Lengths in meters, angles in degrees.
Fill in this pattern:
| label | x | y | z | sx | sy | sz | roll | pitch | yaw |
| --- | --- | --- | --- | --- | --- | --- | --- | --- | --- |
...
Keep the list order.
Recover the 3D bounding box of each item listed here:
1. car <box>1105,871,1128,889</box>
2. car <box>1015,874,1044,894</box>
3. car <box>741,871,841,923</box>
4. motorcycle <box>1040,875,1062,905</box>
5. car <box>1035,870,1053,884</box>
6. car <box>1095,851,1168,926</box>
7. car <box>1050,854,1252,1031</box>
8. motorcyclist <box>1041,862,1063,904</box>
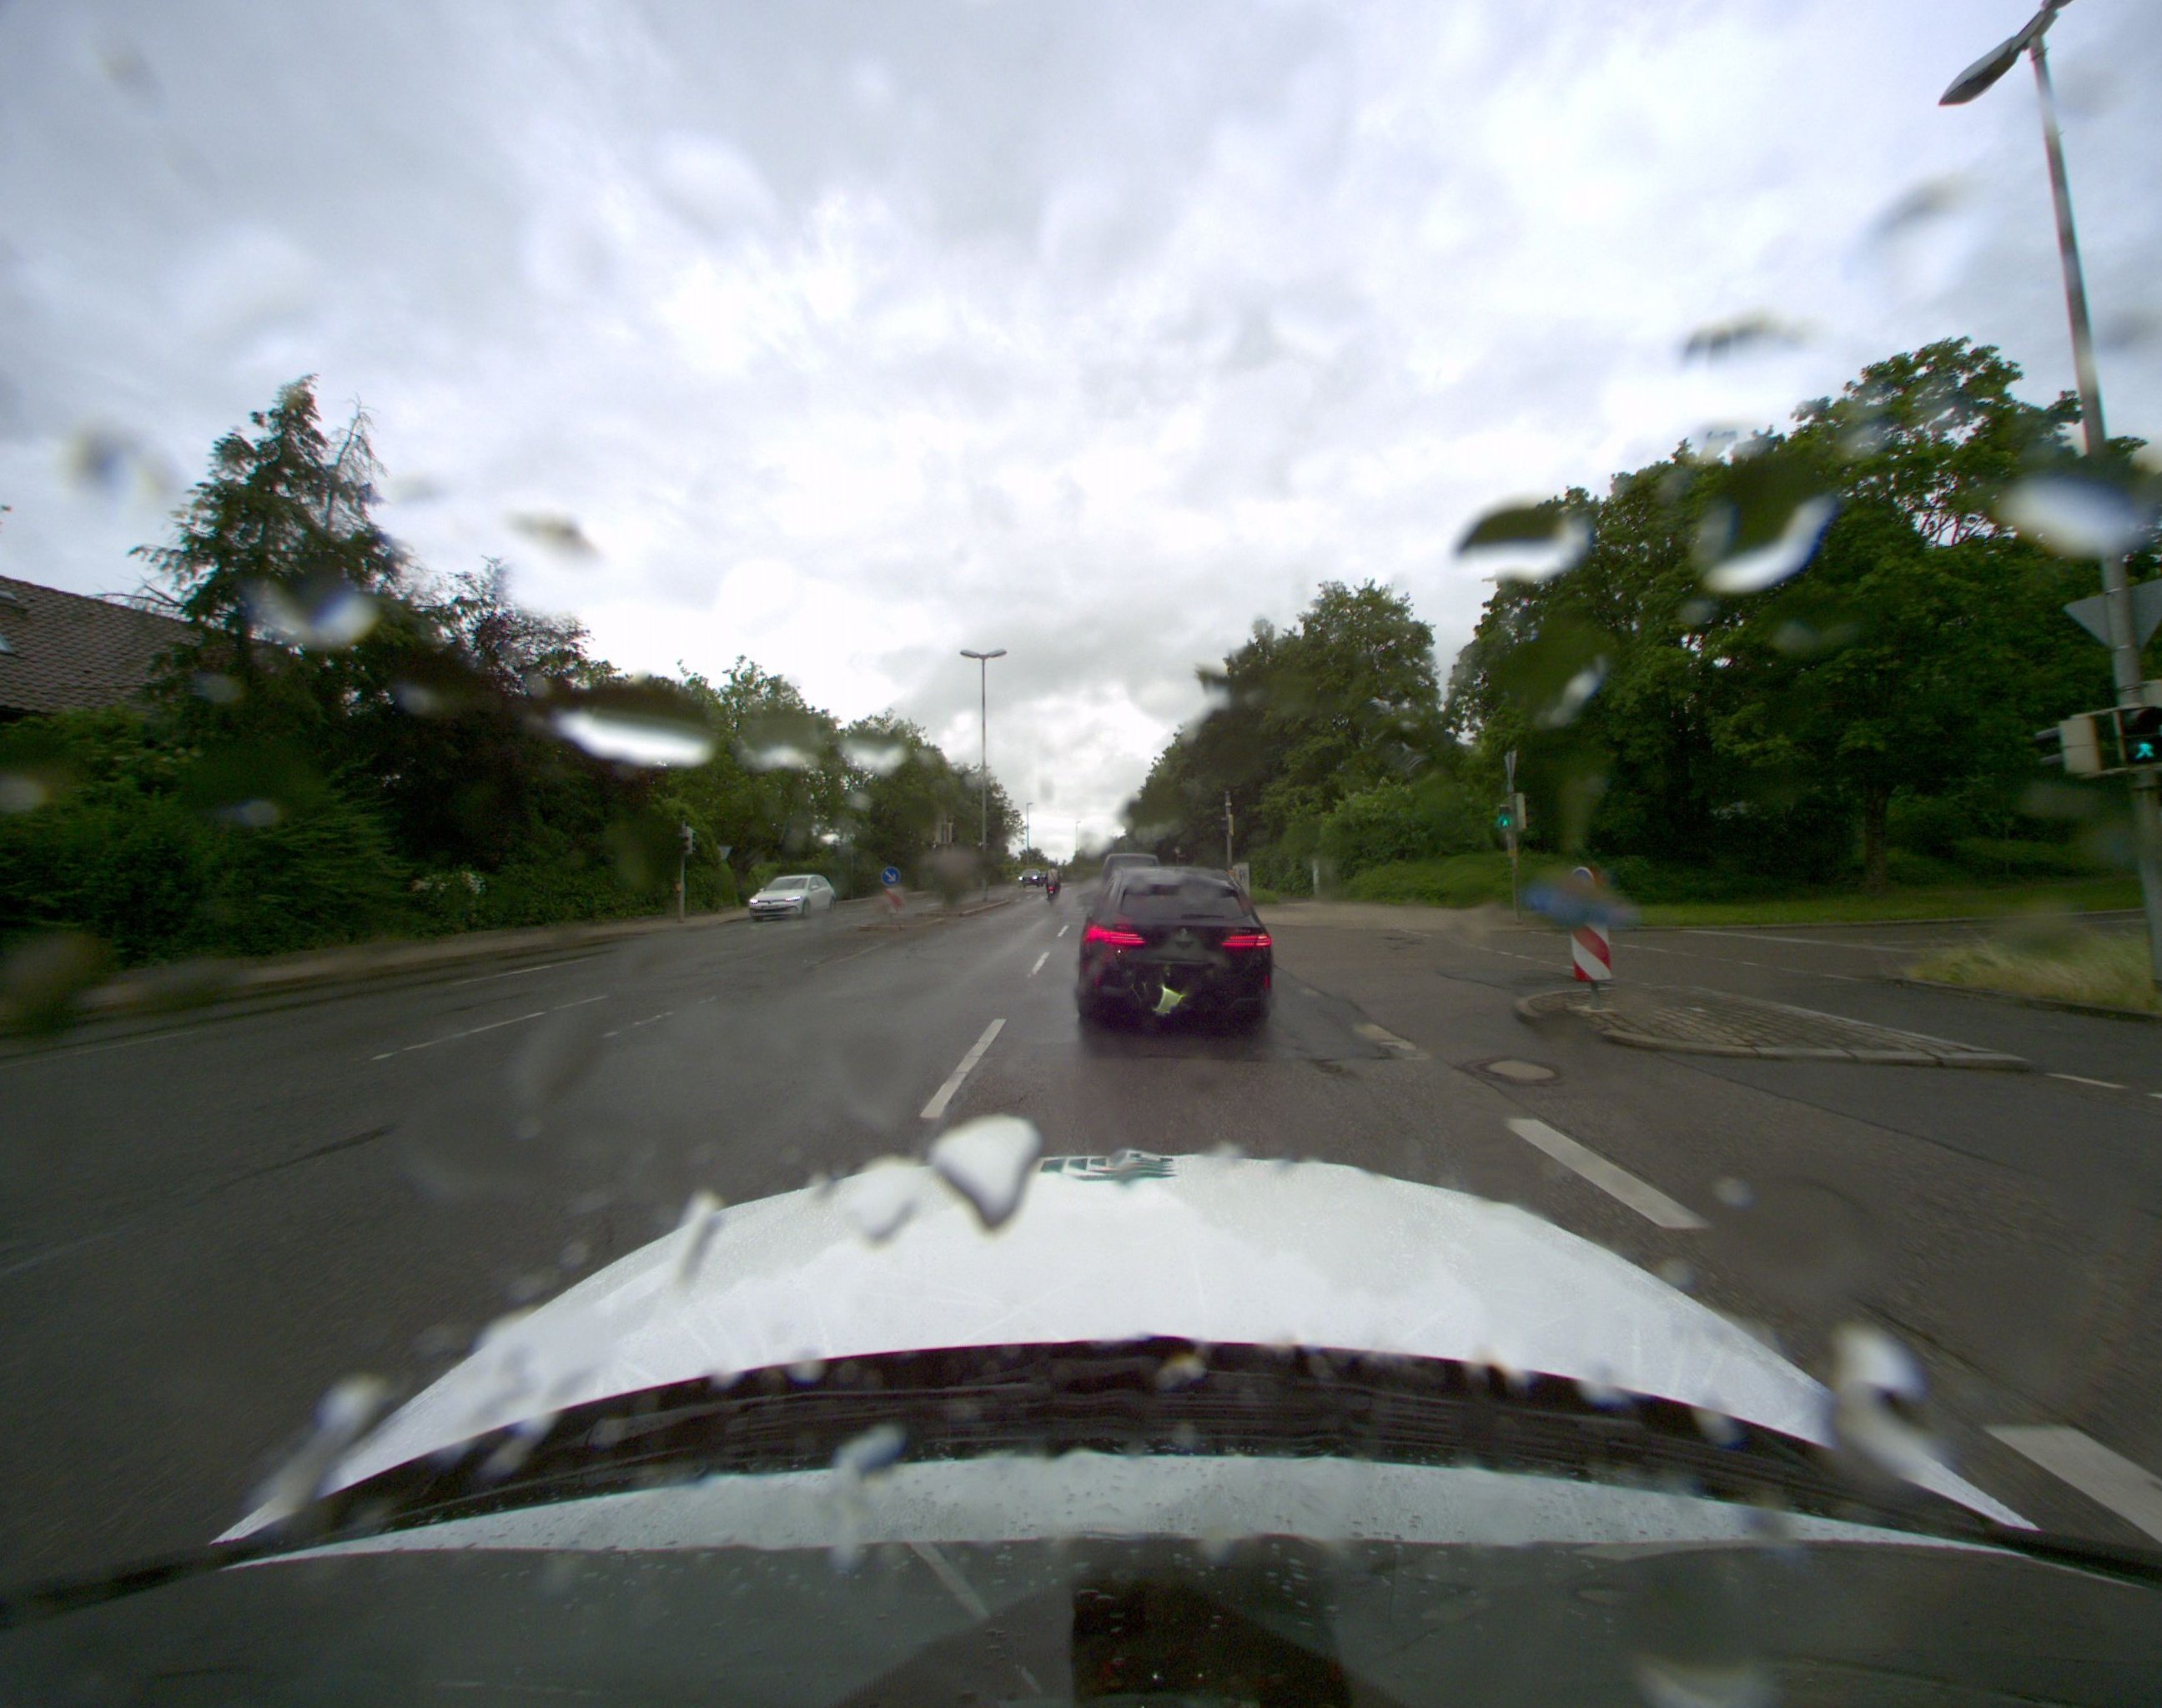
| label | x | y | z | sx | sy | sz | roll | pitch | yaw |
| --- | --- | --- | --- | --- | --- | --- | --- | --- | --- |
| car | 3.152 | 2.265 | 72.079 | 2.006 | 1.415 | 4.490 | 0 | 0 | 3 |
| car | -4.353 | 2.560 | 69.891 | 2.017 | 1.563 | 3.878 | -2 | -1 | 2 |
| car | -9.782 | 1.410 | 27.860 | 1.721 | 1.485 | 4.159 | -3 | -1 | 2 |
| motorcycle | -1.175 | 1.418 | 32.492 | 0.738 | 1.119 | 1.427 | 0 | 0 | 3 |
| car | -4.253 | 2.634 | 94.309 | 1.788 | 1.603 | 3.732 | -2 | -1 | 1 |
| car | 1.330 | 0.839 | 21.602 | 1.759 | 1.810 | 3.908 | 0 | 0 | 3 |
| car | 0.711 | 0.792 | 8.966 | 1.757 | 1.536 | 3.676 | 0 | -1 | 3 |
| motorcyclist | -1.162 | 1.161 | 32.573 | 0.842 | 1.647 | 0.468 | -1 | -1 | 3 |
